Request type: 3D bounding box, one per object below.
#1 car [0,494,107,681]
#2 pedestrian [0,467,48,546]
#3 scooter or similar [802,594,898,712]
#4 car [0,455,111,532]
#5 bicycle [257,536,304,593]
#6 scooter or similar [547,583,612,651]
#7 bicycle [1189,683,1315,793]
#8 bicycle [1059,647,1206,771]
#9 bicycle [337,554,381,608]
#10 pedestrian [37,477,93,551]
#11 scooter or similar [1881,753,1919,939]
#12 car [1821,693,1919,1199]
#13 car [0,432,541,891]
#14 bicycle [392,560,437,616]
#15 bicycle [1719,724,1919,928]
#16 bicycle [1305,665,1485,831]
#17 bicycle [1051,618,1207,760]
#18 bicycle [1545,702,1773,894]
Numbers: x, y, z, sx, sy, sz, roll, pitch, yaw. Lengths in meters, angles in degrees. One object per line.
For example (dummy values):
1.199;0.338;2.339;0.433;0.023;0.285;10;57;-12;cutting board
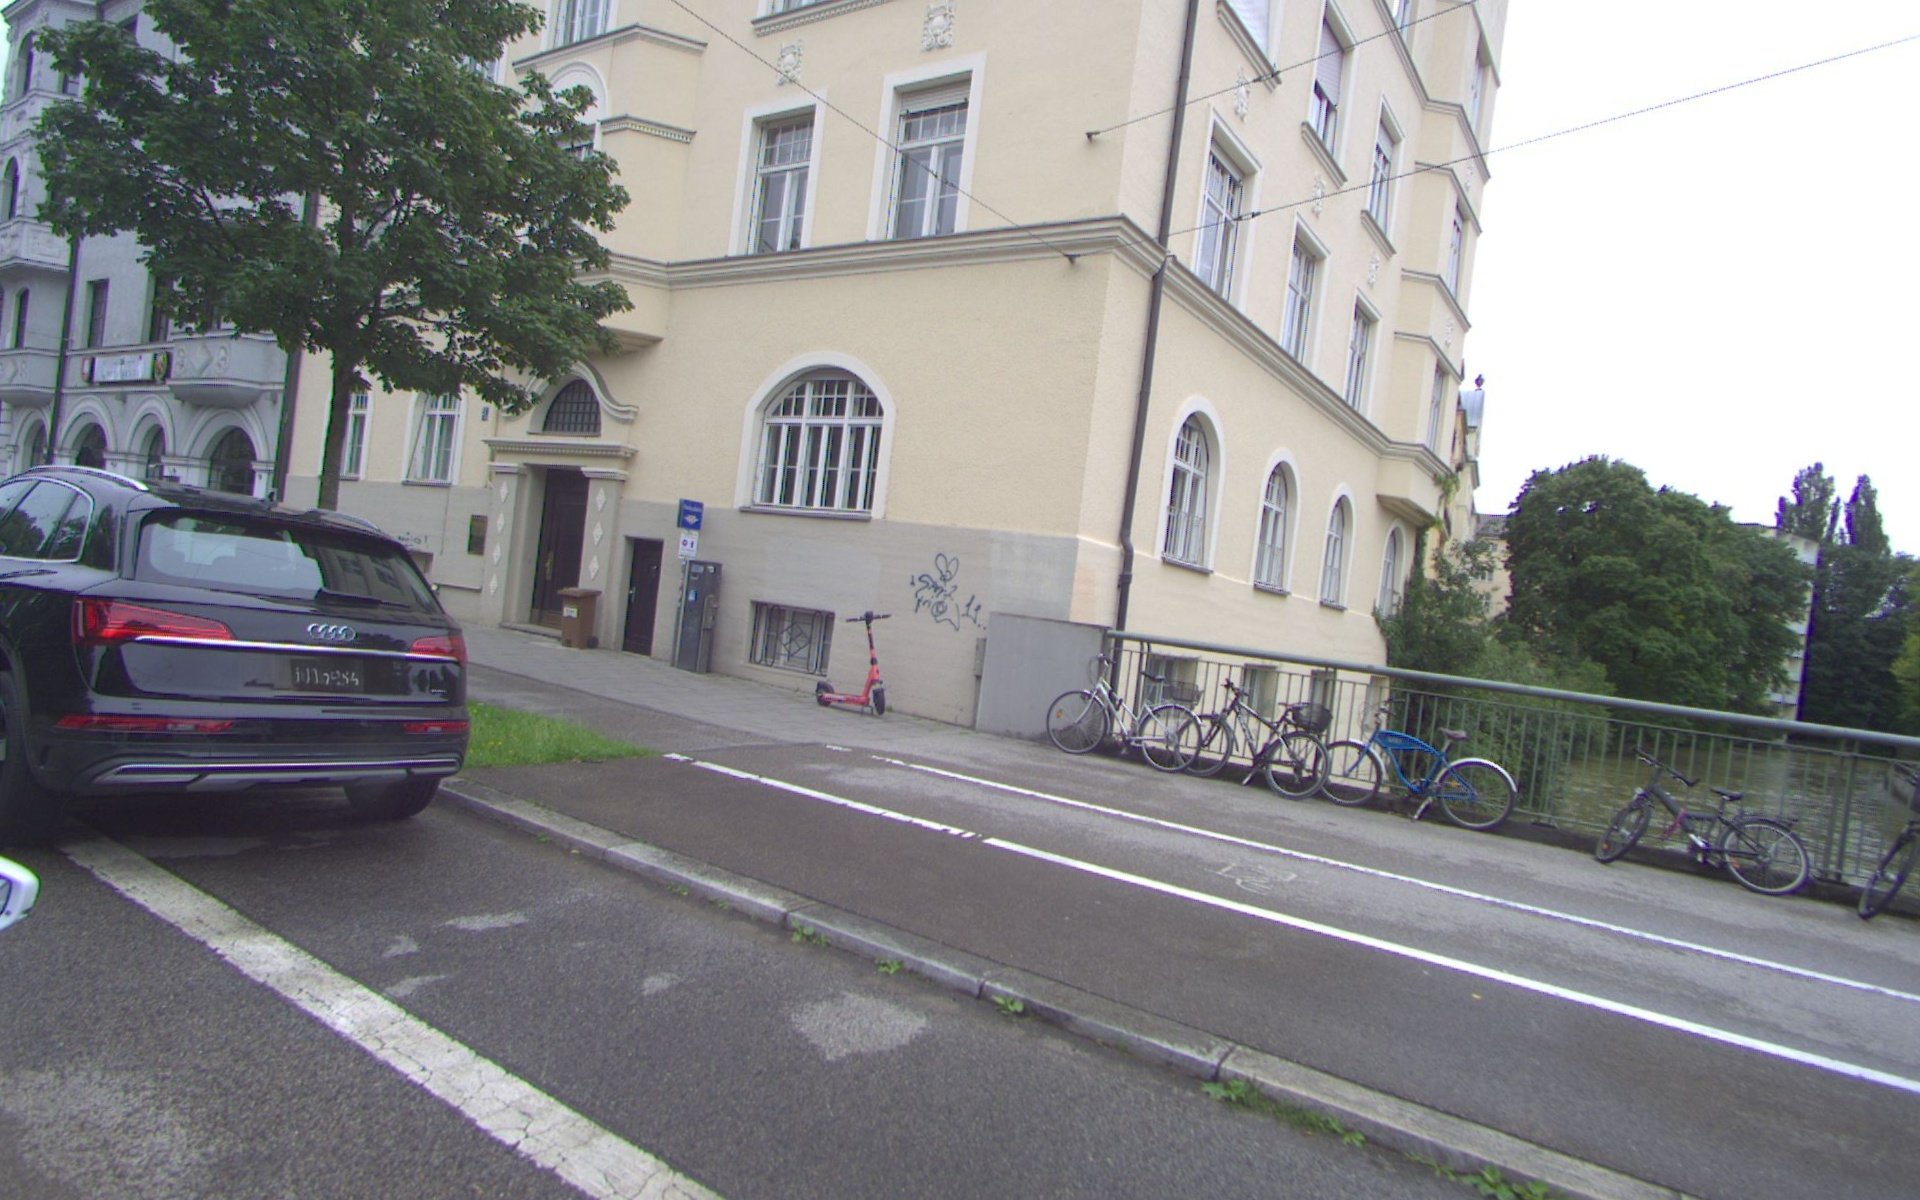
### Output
-9.584;-0.355;8.912;4.526;1.442;1.719;7;-2;32;car
-23.625;-2.347;25.254;0.855;1.837;0.706;7;-1;33;pedestrian
-1.392;0.649;12.610;1.123;1.328;0.261;7;-1;33;scooter or similar
-40.473;-4.726;43.343;2.193;2.642;5.309;7;-2;30;car
-13.976;-0.731;20.680;1.203;1.051;0.242;7;-1;33;bicycle
-6.019;0.277;15.910;0.538;0.957;0.662;7;-1;34;scooter or similar
2.953;1.388;10.219;1.122;0.948;0.249;6;3;11;bicycle
1.852;1.156;10.877;1.417;1.119;0.287;7;0;26;bicycle
-11.645;-0.374;19.477;0.871;0.941;0.285;7;-1;34;bicycle
-23.161;-2.216;26.032;0.829;1.752;0.706;7;-1;33;pedestrian
7.476;1.839;7.068;1.467;1.277;0.245;8;-1;10;scooter or similar
3.706;1.207;0.555;4.589;1.628;1.904;8;-1;33;car
-4.556;0.102;5.634;4.415;1.677;1.777;7;-1;33;car
-10.030;-0.226;18.489;0.871;0.941;0.222;7;-1;32;bicycle
6.663;1.698;7.591;1.383;1.297;0.283;8;-1;13;bicycle
4.027;1.348;9.382;1.384;1.297;0.283;7;-1;21;bicycle
1.829;0.948;10.995;1.511;1.327;0.332;7;-1;32;bicycle
5.706;1.591;8.272;1.384;1.297;0.283;7;-1;21;bicycle
